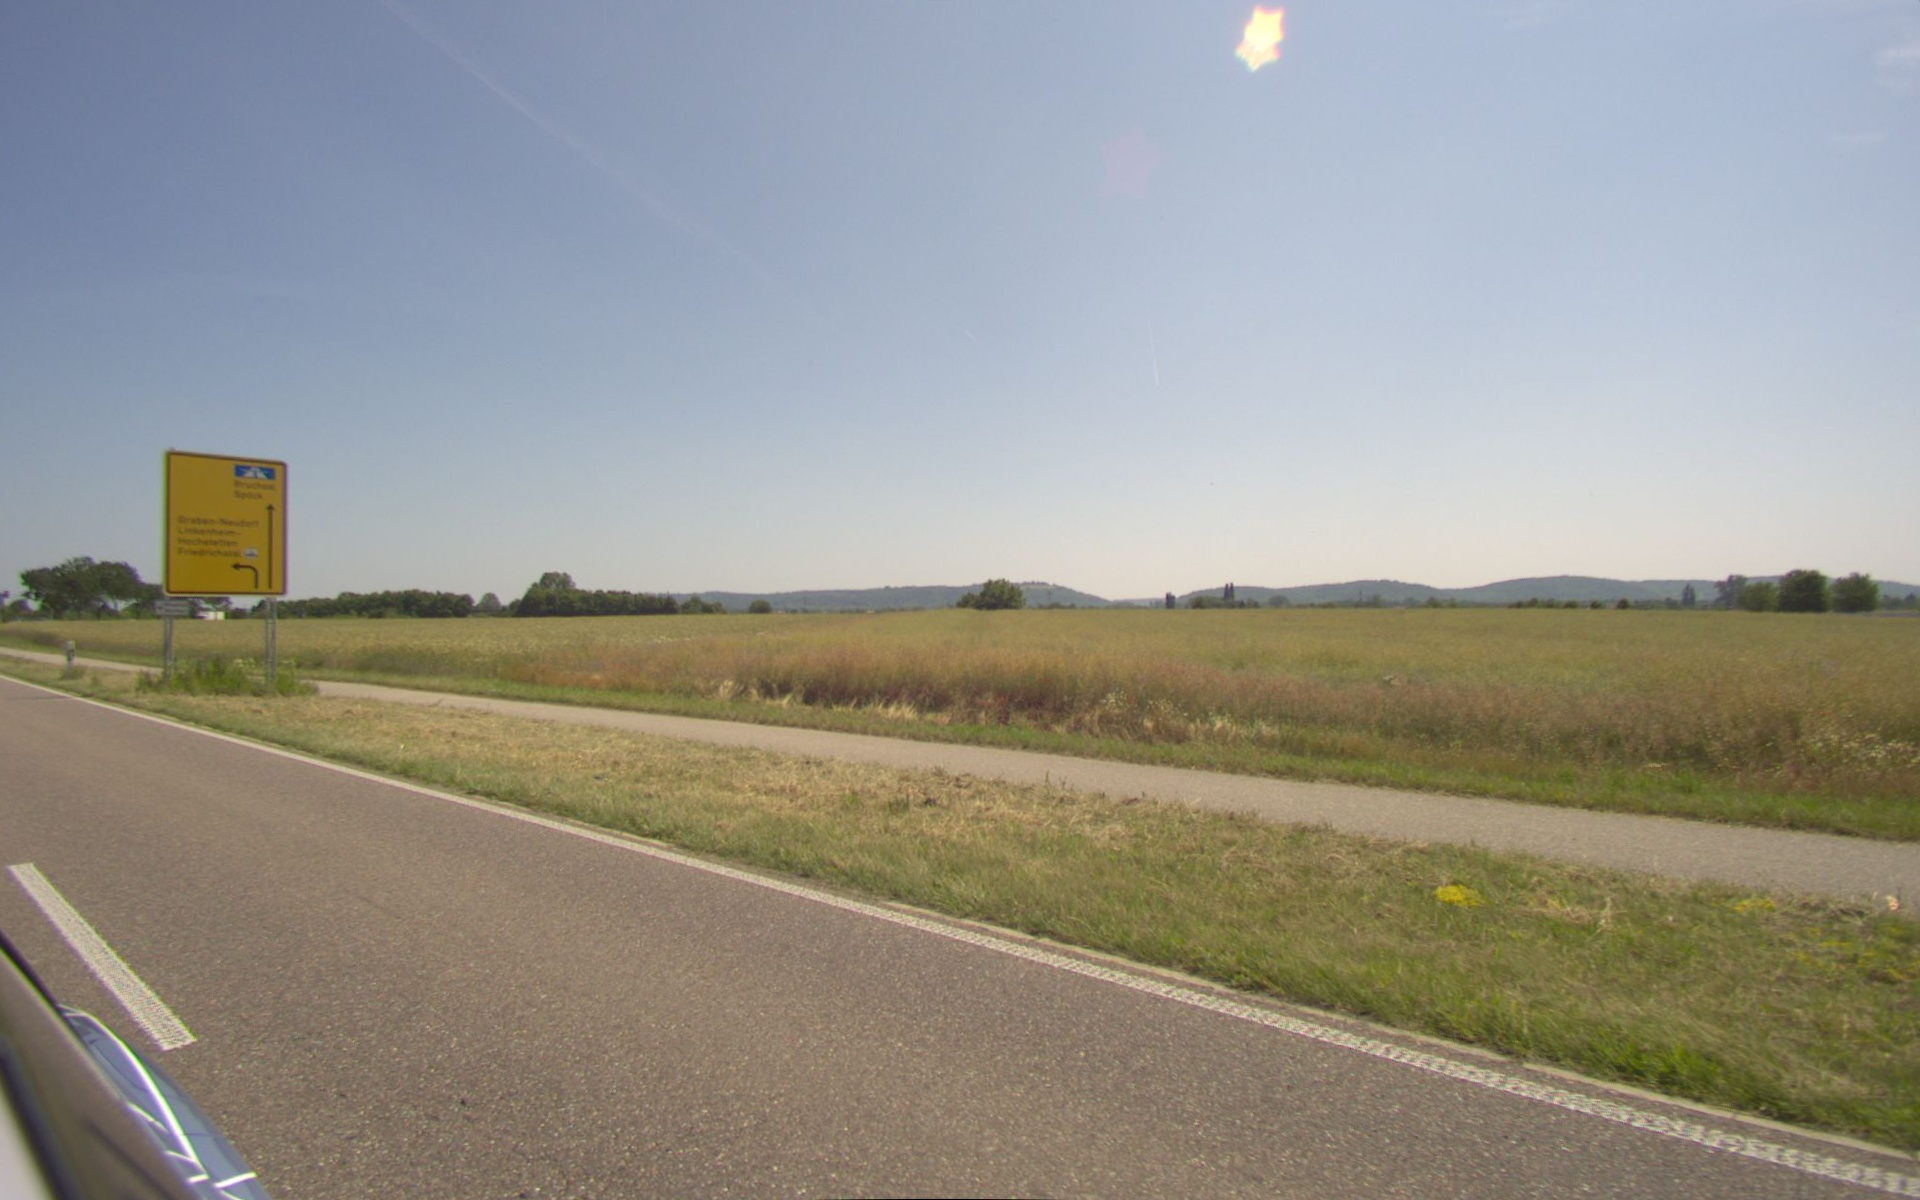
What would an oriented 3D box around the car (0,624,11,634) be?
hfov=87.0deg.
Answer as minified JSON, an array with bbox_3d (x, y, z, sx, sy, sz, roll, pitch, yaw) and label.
[{"bbox_3d":[-173.980,5.245,181.965,1.806,1.653,4.483,0,-1,28],"label":"car"}]
